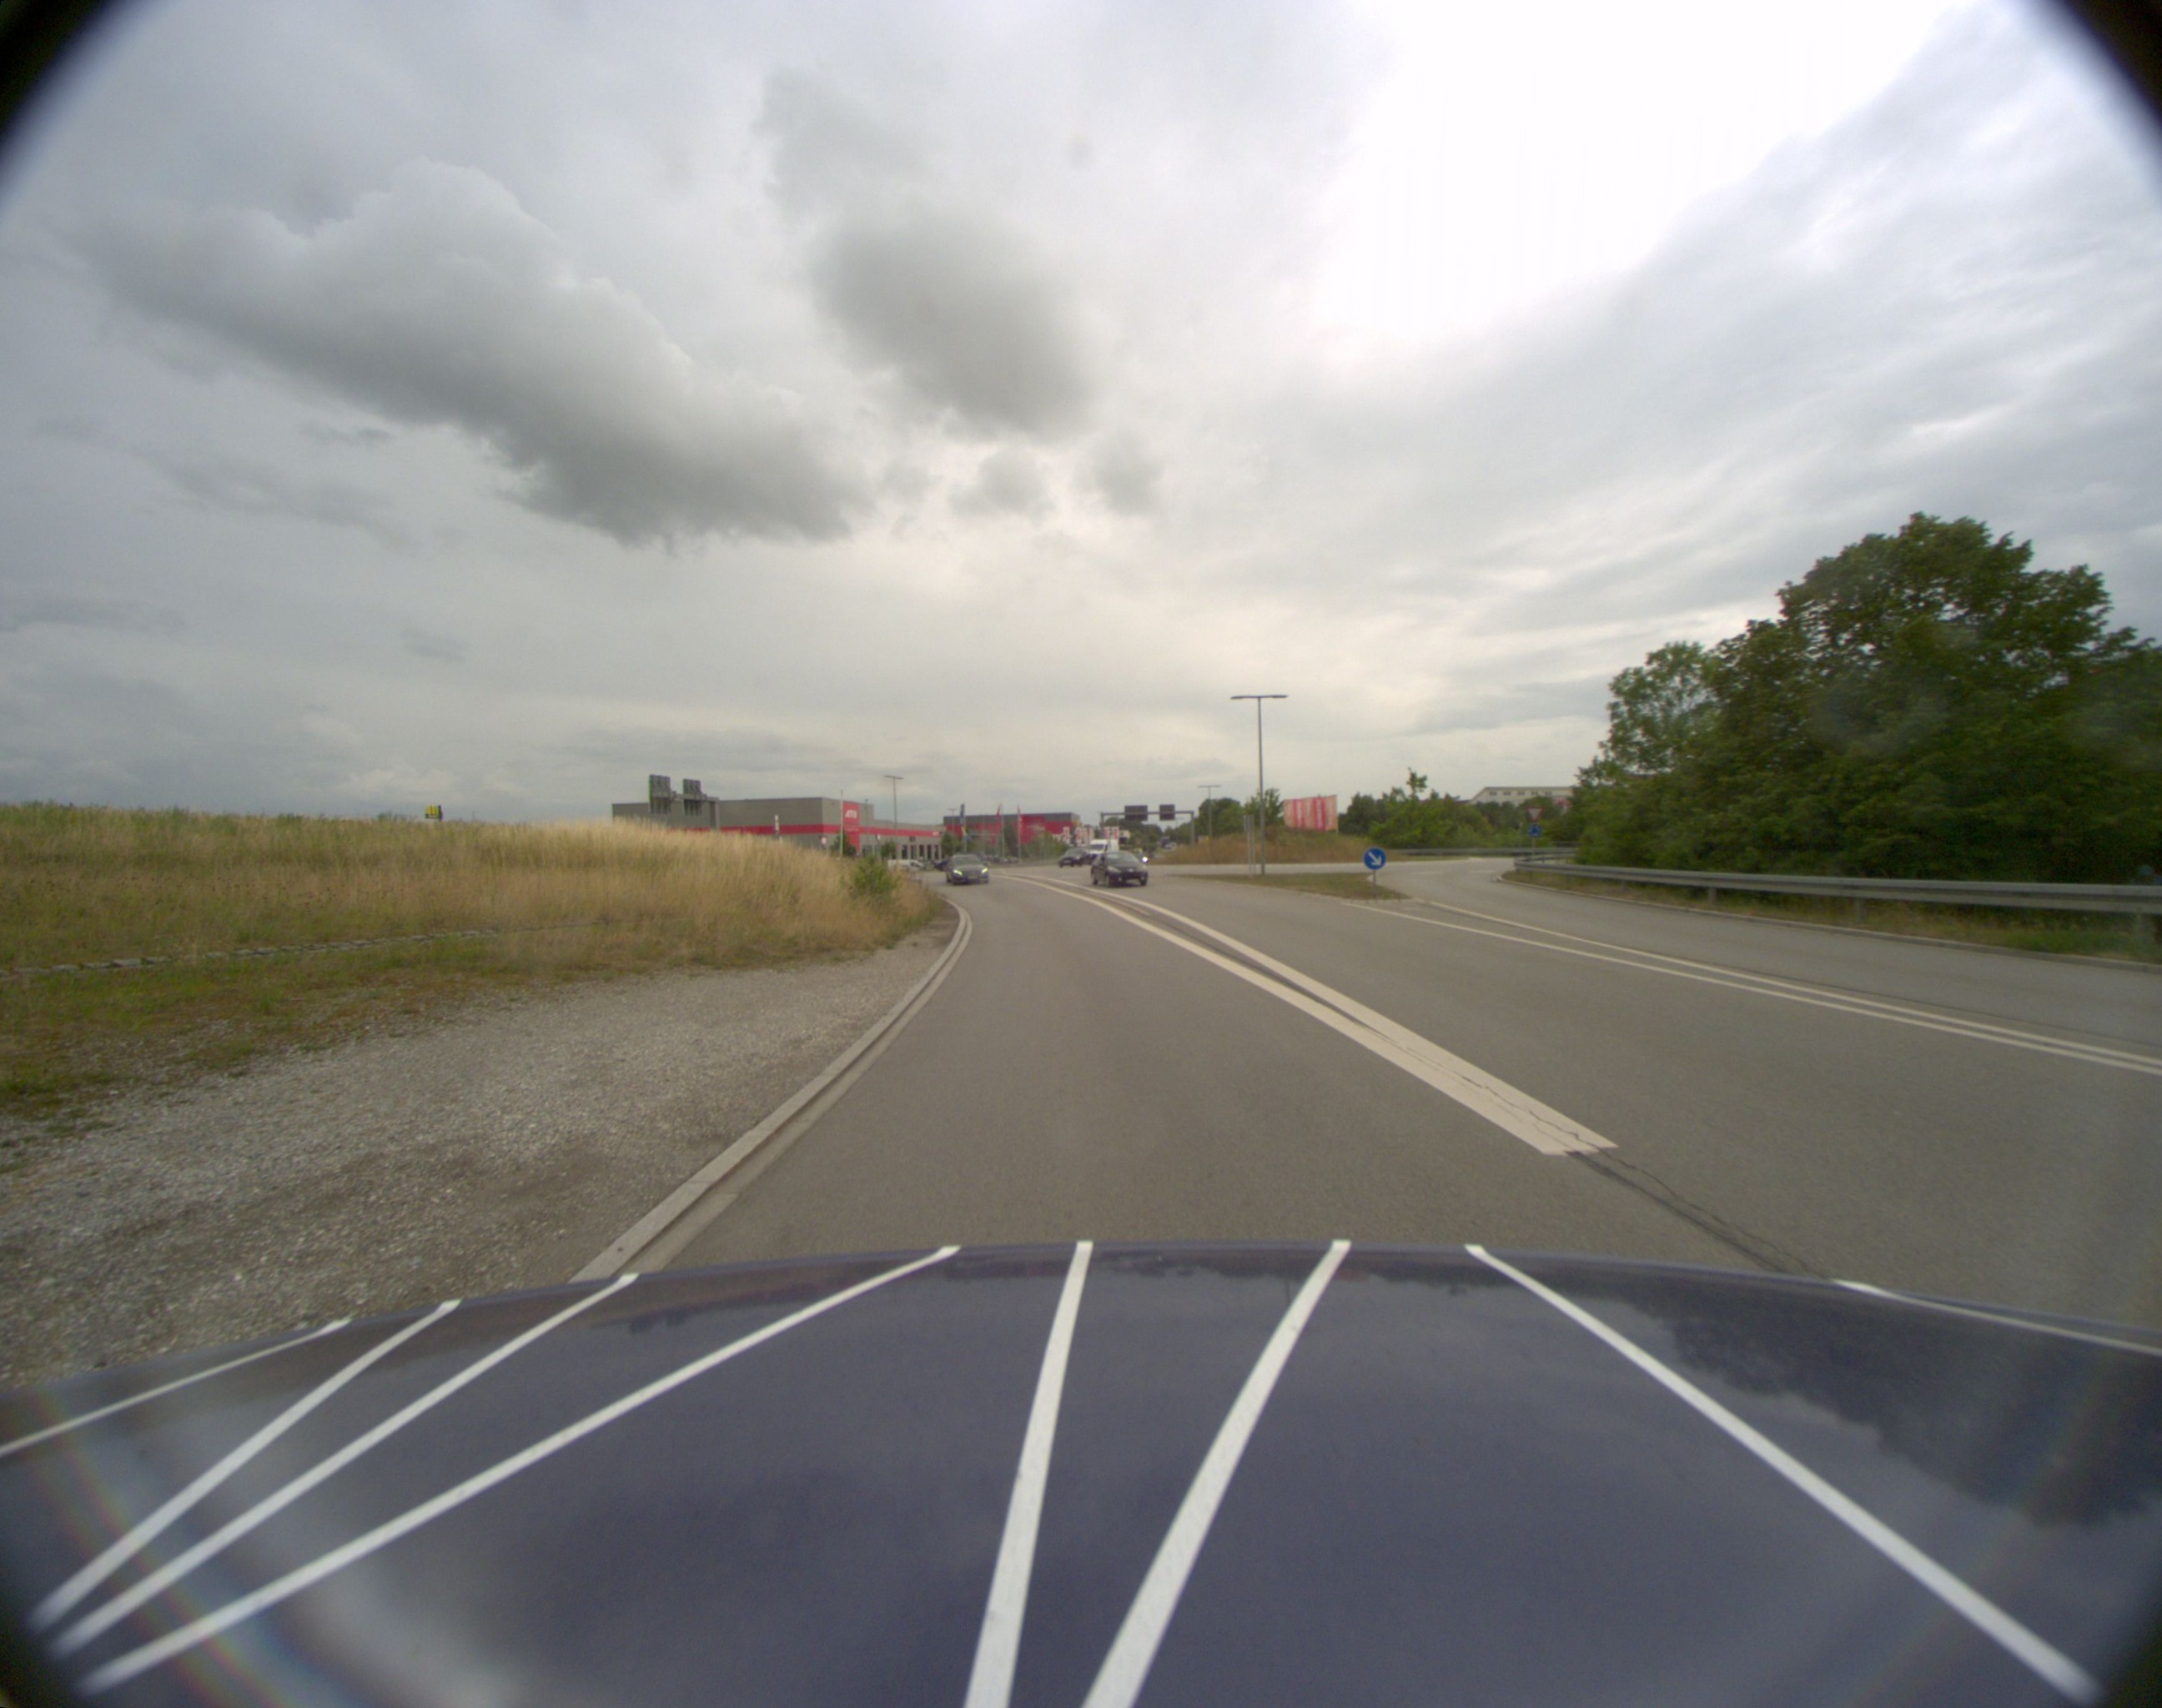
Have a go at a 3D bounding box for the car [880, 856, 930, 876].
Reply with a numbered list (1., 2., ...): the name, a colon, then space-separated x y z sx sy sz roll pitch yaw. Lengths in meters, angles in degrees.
1. car: -19.843 1.368 85.934 5.075 2.035 2.000 -2 1 1

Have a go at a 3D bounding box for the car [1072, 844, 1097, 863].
1. car: 0.277 -0.031 56.910 1.578 1.261 3.315 -3 1 5

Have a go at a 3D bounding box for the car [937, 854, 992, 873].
1. car: -10.383 0.804 67.431 4.560 1.404 1.858 -3 1 -17

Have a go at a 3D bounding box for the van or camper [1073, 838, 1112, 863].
1. van or camper: 1.247 -0.394 79.835 2.049 2.350 5.548 -2 1 22

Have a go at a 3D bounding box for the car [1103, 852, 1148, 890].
1. car: 1.862 0.683 32.716 1.580 1.347 3.821 -3 2 0

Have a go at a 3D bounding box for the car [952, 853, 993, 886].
1. car: -5.598 0.757 39.612 1.765 1.412 4.088 -4 2 -4
